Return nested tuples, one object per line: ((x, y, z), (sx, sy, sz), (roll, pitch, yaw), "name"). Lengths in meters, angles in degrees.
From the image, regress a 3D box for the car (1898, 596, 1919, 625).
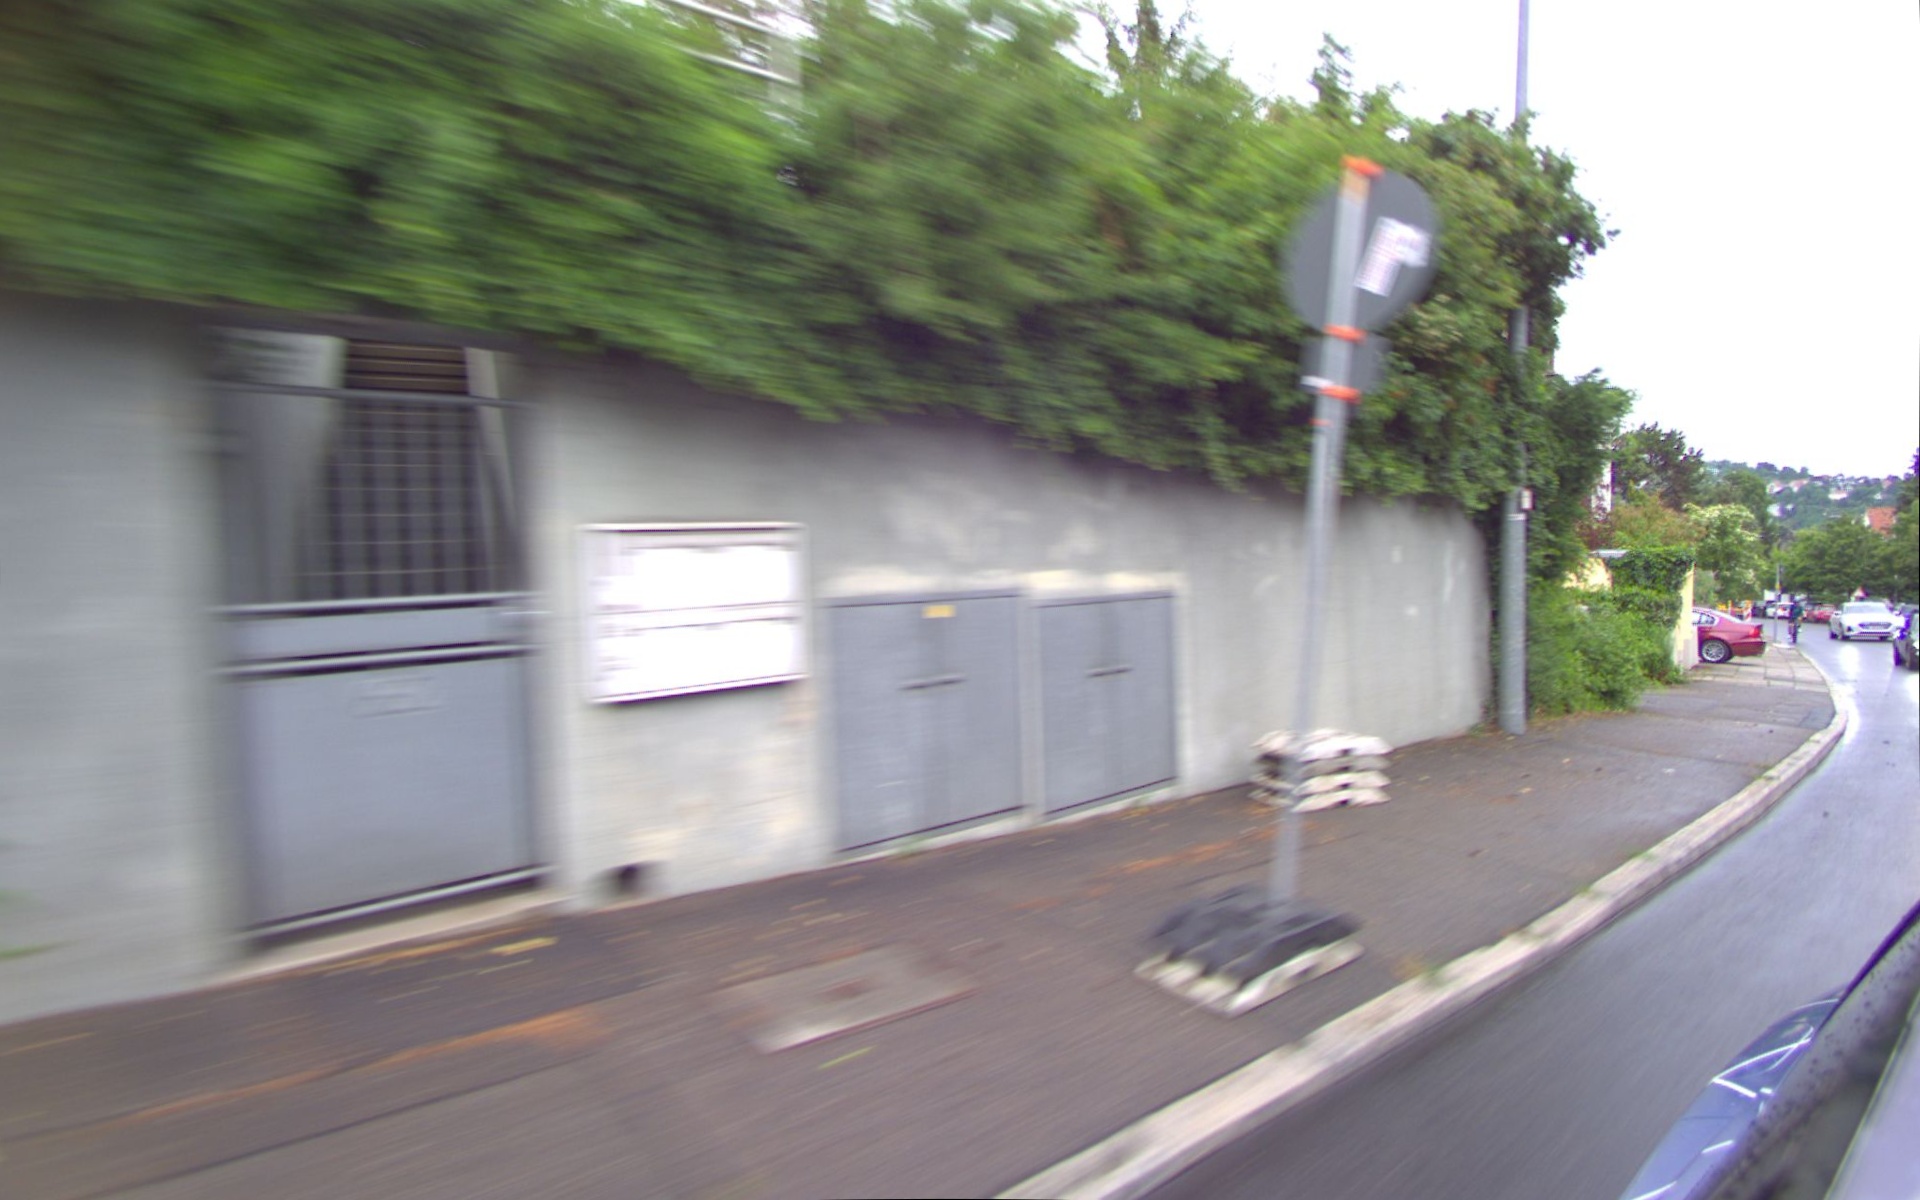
((56.129, 0.597, 58.758), (1.899, 1.620, 4.037), (2, 2, 35), "car")

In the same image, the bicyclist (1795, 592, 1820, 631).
((34.903, 0.467, 41.693), (0.681, 1.557, 0.775), (-2, -1, 35), "bicyclist")

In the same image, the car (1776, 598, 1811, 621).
((75.176, 0.837, 91.304), (1.987, 2.039, 3.951), (2, 1, 34), "car")

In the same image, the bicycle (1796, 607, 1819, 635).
((34.893, 0.842, 41.674), (0.587, 1.113, 1.509), (-1, 0, 35), "bicycle")

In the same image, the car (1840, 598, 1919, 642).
((39.108, 0.823, 43.072), (2.007, 1.760, 4.539), (-1, 0, 36), "car")

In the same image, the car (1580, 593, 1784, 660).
((19.016, 0.648, 26.769), (4.171, 1.423, 1.805), (4, 2, 43), "car")

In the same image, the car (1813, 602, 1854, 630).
((66.984, 1.208, 77.601), (3.934, 2.039, 1.995), (1, 1, -45), "car")
